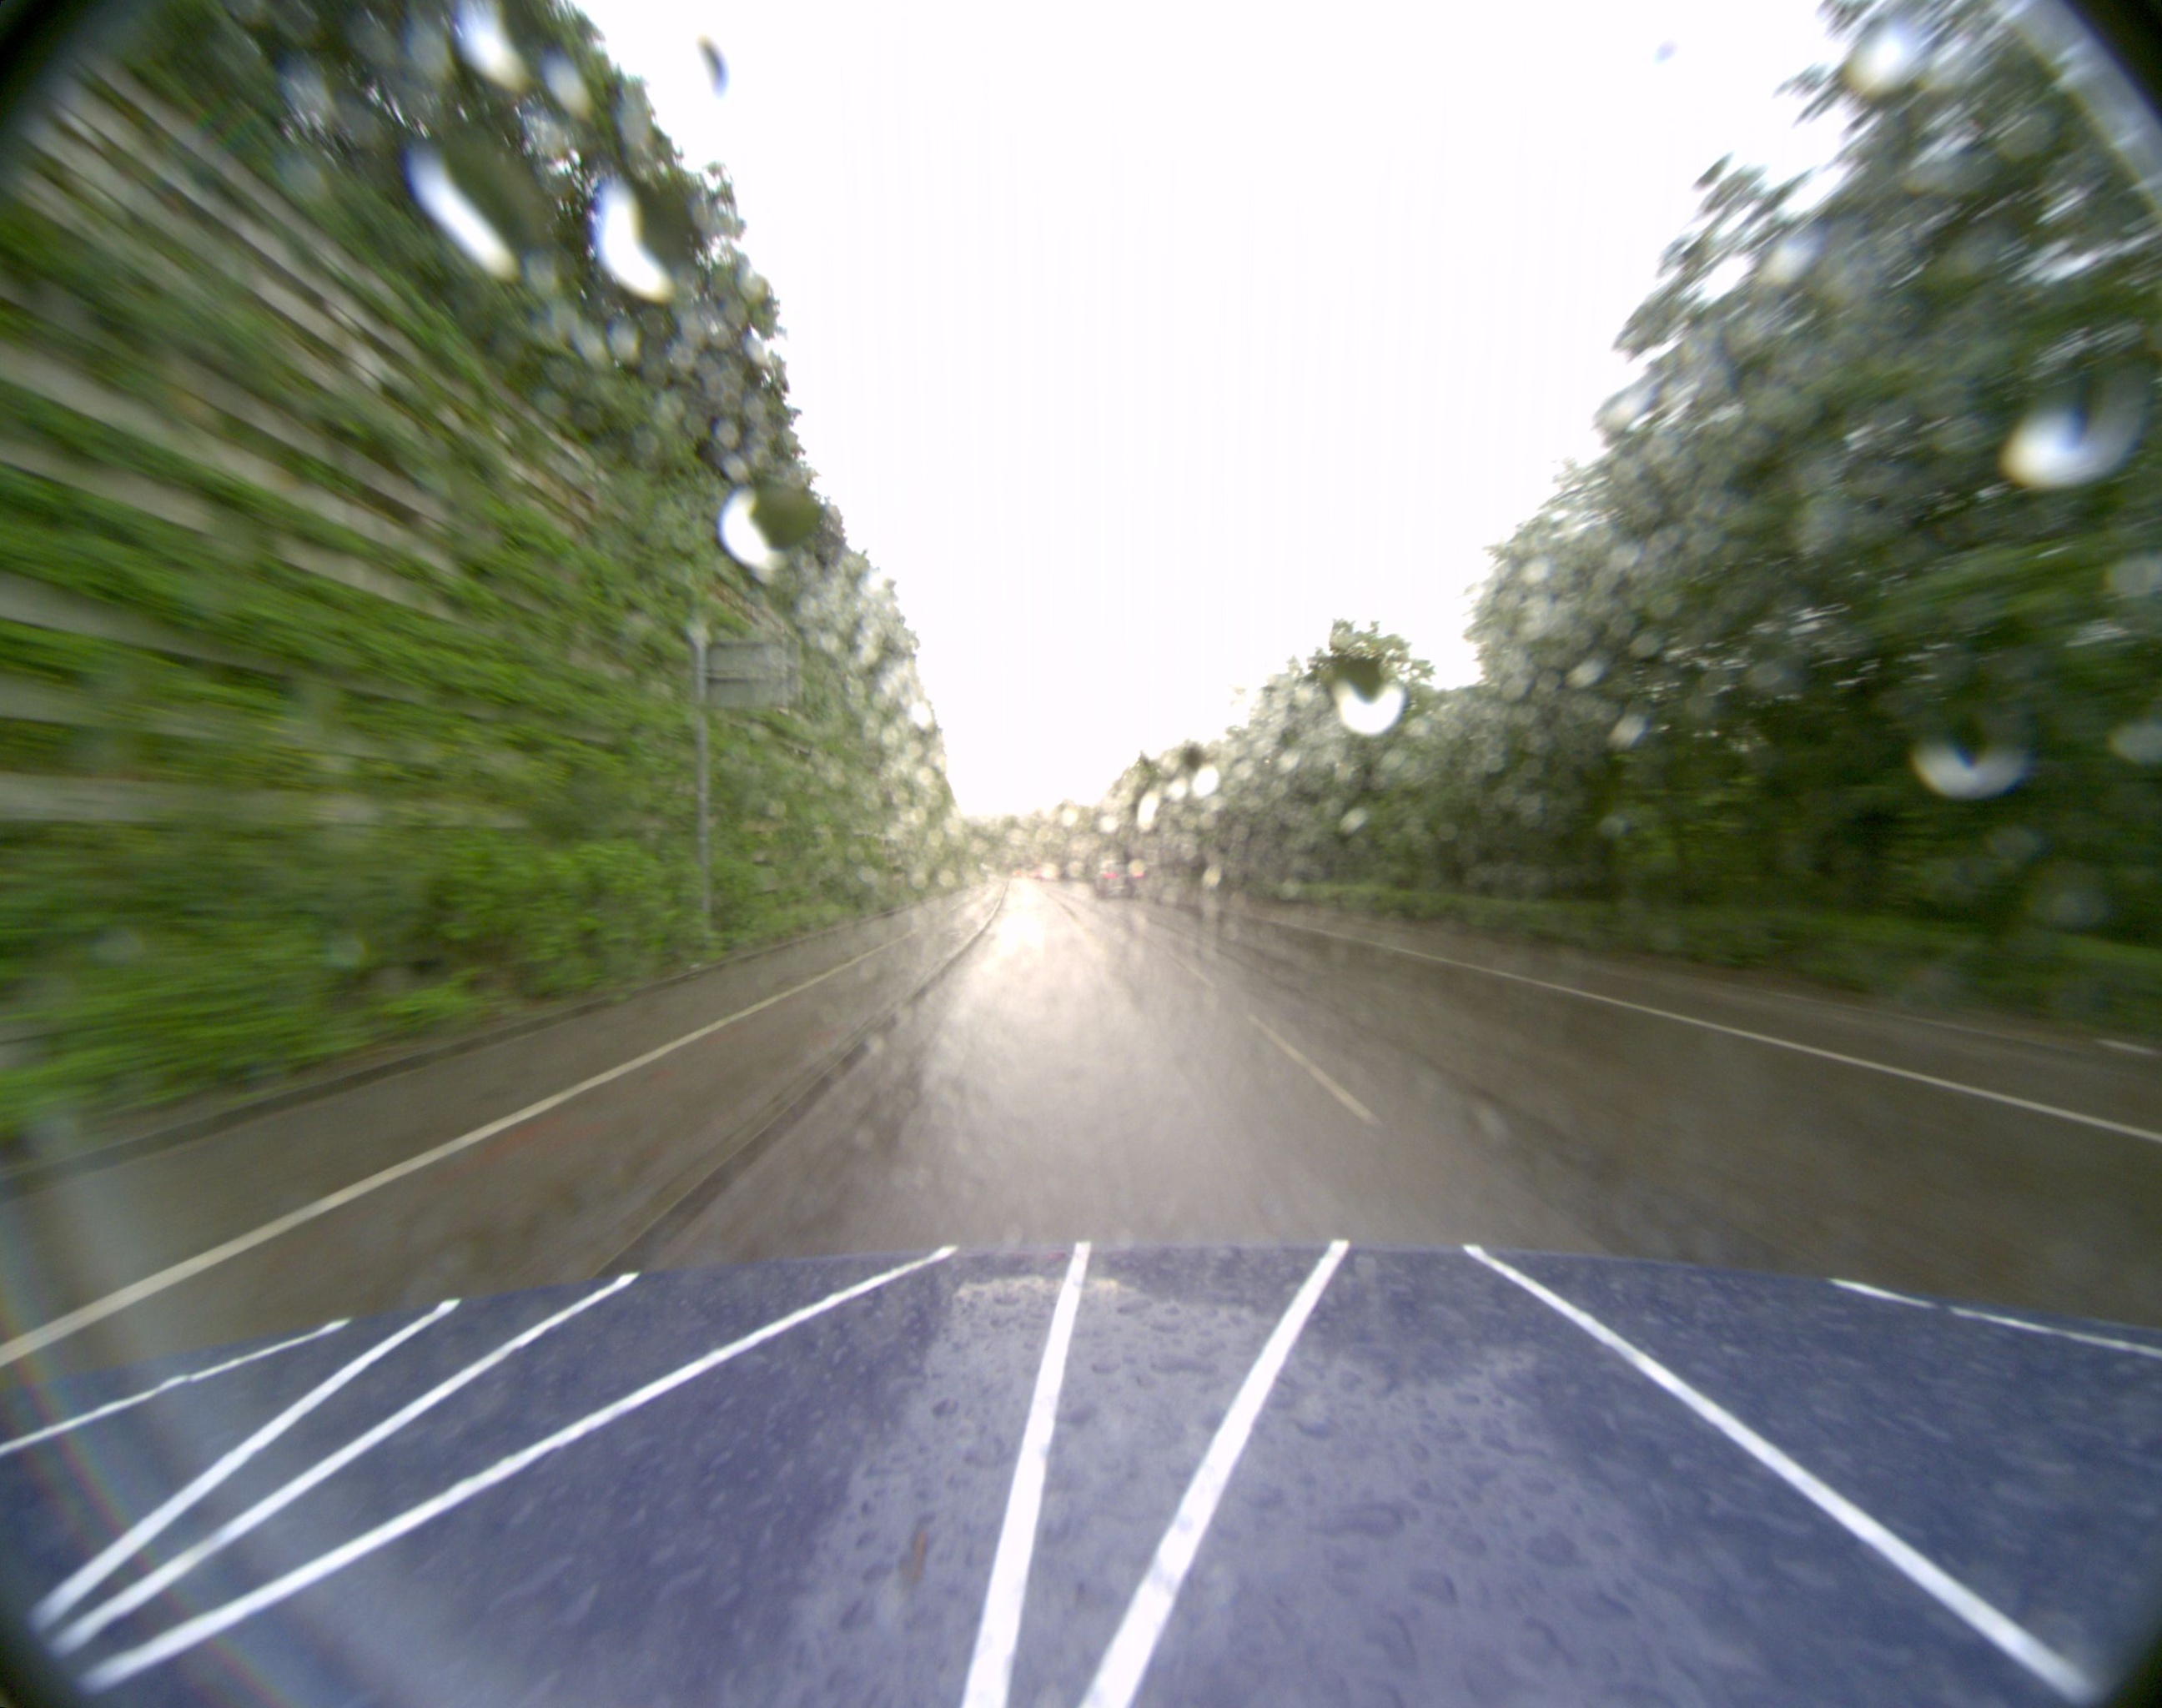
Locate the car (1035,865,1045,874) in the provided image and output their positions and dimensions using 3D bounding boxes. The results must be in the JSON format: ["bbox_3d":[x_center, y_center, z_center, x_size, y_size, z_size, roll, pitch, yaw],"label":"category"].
[{"bbox_3d":[-7.489,2.822,139.019,1.828,1.605,4.092,-2,-1,-3],"label":"car"}]

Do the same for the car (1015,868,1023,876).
[{"bbox_3d":[-14.655,4.247,179.018,1.737,1.608,3.999,-1,0,-3],"label":"car"}]

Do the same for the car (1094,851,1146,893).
[{"bbox_3d":[1.705,0.788,34.338,1.835,1.696,4.332,-2,0,-3],"label":"car"}]

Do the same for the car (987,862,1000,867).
[{"bbox_3d":[-27.239,3.305,235.672,3.825,1.559,1.773,2,0,-10],"label":"car"}]

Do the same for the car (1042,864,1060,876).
[{"bbox_3d":[-3.897,2.035,97.226,1.999,1.356,4.249,-2,-1,-6],"label":"car"}]

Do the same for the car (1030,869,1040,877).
[{"bbox_3d":[-9.531,3.899,156.482,1.871,1.440,4.375,-1,-1,-7],"label":"car"}]
